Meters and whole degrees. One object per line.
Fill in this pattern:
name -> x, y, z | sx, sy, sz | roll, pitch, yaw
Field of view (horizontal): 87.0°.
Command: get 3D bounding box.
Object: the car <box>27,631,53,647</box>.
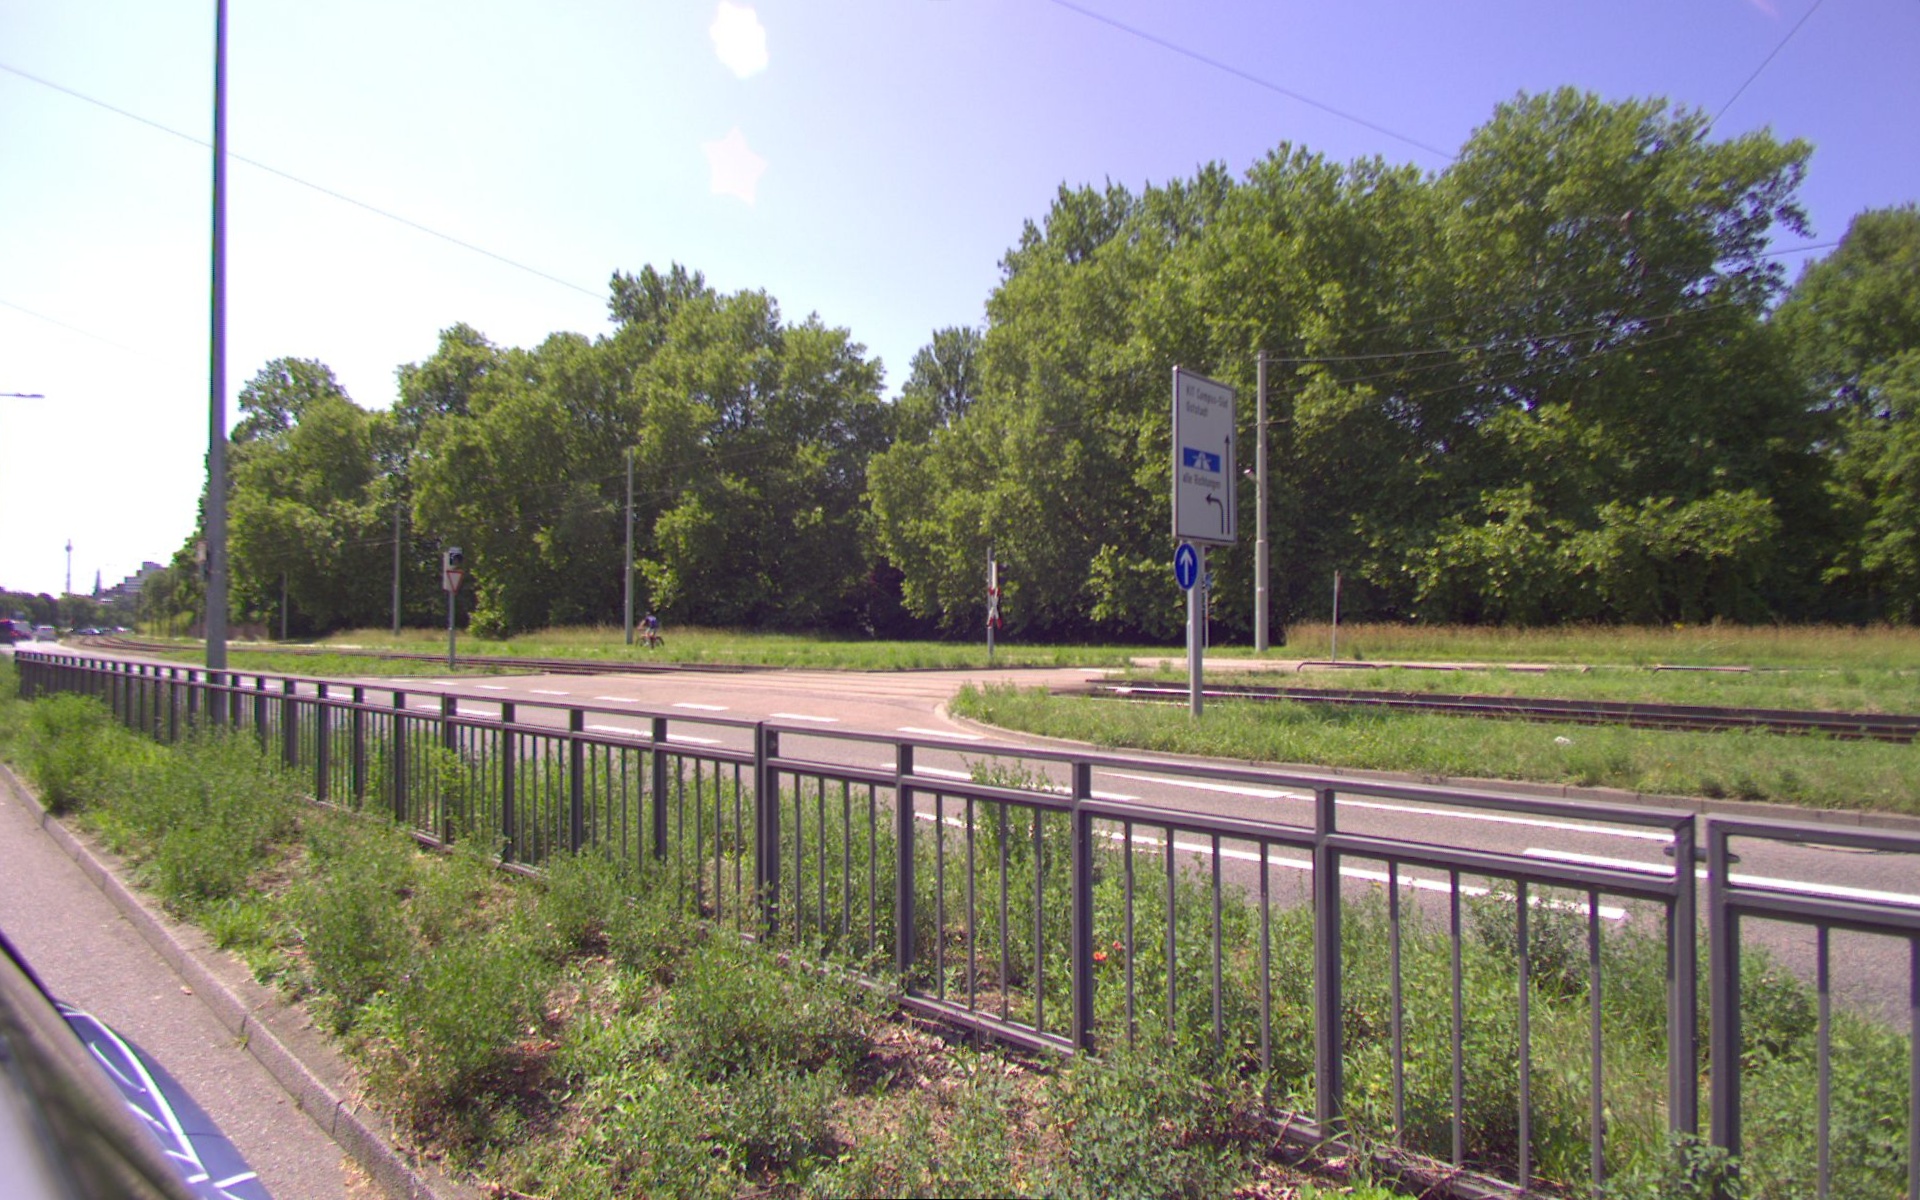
car -> -116.466, 4.935, 128.093 | 5.029, 2.029, 1.972 | -2, -4, 43

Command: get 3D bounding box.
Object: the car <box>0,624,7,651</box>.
car -> -88.043, 3.388, 91.729 | 5.372, 2.384, 1.972 | -2, -3, 43

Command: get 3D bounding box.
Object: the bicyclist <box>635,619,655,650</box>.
bicyclist -> -13.723, 1.485, 44.084 | 0.679, 1.346, 0.503 | -2, -2, 36

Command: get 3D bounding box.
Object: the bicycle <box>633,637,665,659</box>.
bicycle -> -13.603, 2.086, 44.202 | 1.562, 0.908, 0.503 | -1, -2, 36
